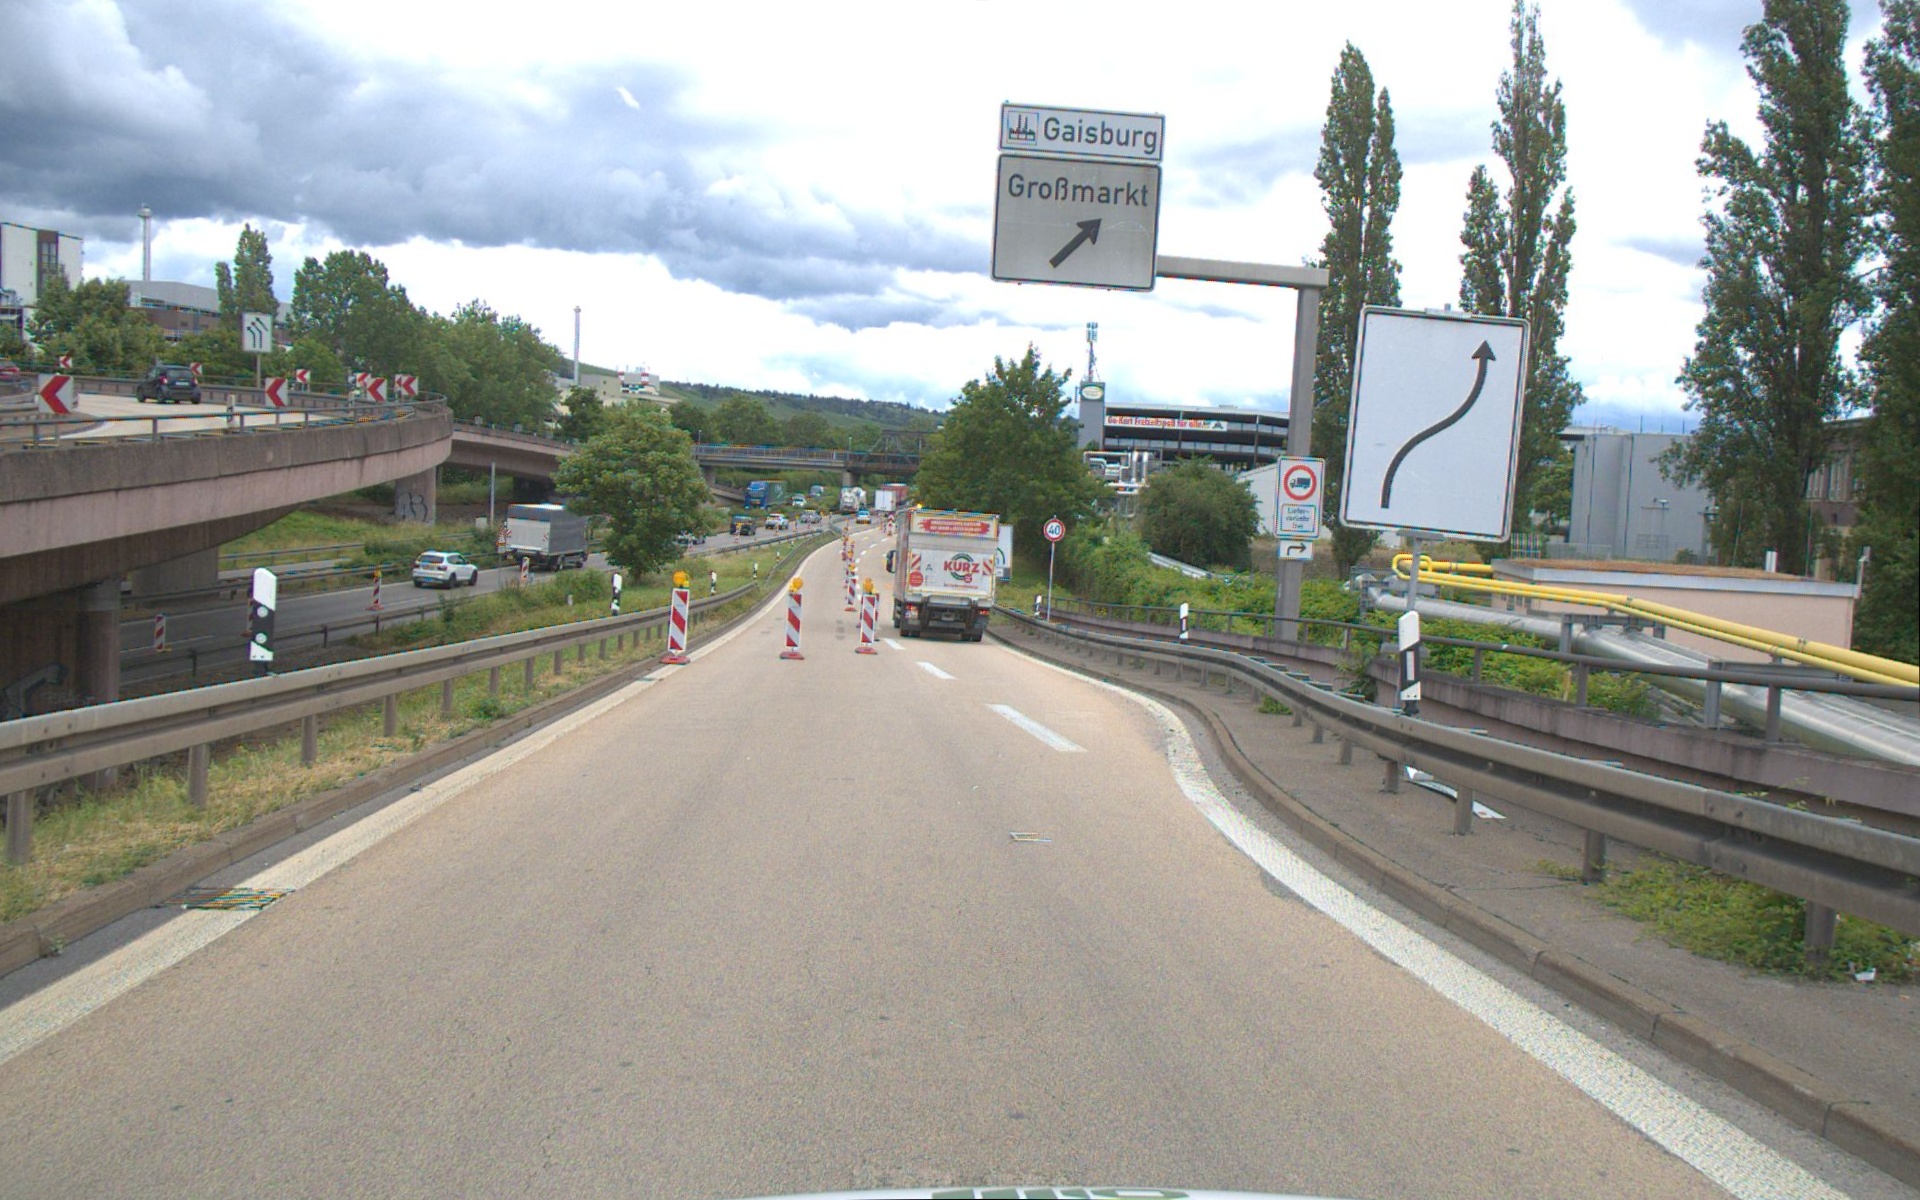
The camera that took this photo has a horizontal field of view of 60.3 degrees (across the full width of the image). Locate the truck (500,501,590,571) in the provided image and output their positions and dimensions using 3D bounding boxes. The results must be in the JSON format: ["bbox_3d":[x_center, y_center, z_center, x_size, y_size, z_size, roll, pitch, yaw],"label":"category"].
[{"bbox_3d":[-23.887,-3.781,95.655,2.988,3.718,7.400,3,3,1],"label":"truck"}]

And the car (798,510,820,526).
[{"bbox_3d":[-17.118,-9.353,187.937,1.953,1.645,4.002,3,3,1],"label":"car"}]

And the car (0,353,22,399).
[{"bbox_3d":[-42.072,-9.577,70.517,3.917,1.802,1.994,3,1,33],"label":"car"}]

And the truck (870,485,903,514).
[{"bbox_3d":[-10.042,-13.792,226.934,3.218,3.661,7.672,4,3,5],"label":"truck"}]

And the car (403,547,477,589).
[{"bbox_3d":[-25.222,-1.580,80.353,1.952,1.741,4.105,4,3,5],"label":"car"}]

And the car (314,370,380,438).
[{"bbox_3d":[-20.998,-6.656,56.564,1.966,1.802,3.973,2,1,-22],"label":"car"}]

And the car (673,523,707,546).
[{"bbox_3d":[-21.694,-5.282,132.916,1.953,1.645,4.002,3,3,1],"label":"car"}]

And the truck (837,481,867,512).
[{"bbox_3d":[-14.407,-13.833,220.663,3.219,3.917,7.668,3,3,1],"label":"truck"}]

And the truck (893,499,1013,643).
[{"bbox_3d":[-0.339,-0.887,48.841,2.990,3.736,7.924,3,1,-3],"label":"truck"}]

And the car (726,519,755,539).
[{"bbox_3d":[-20.160,-6.511,151.845,1.953,1.645,4.002,3,3,1],"label":"car"}]

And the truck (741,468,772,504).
[{"bbox_3d":[-25.747,-14.346,209.257,2.695,4.344,5.508,3,3,5],"label":"truck"}]

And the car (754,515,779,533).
[{"bbox_3d":[-19.553,-7.727,167.505,1.953,1.645,4.002,3,3,1],"label":"car"}]
